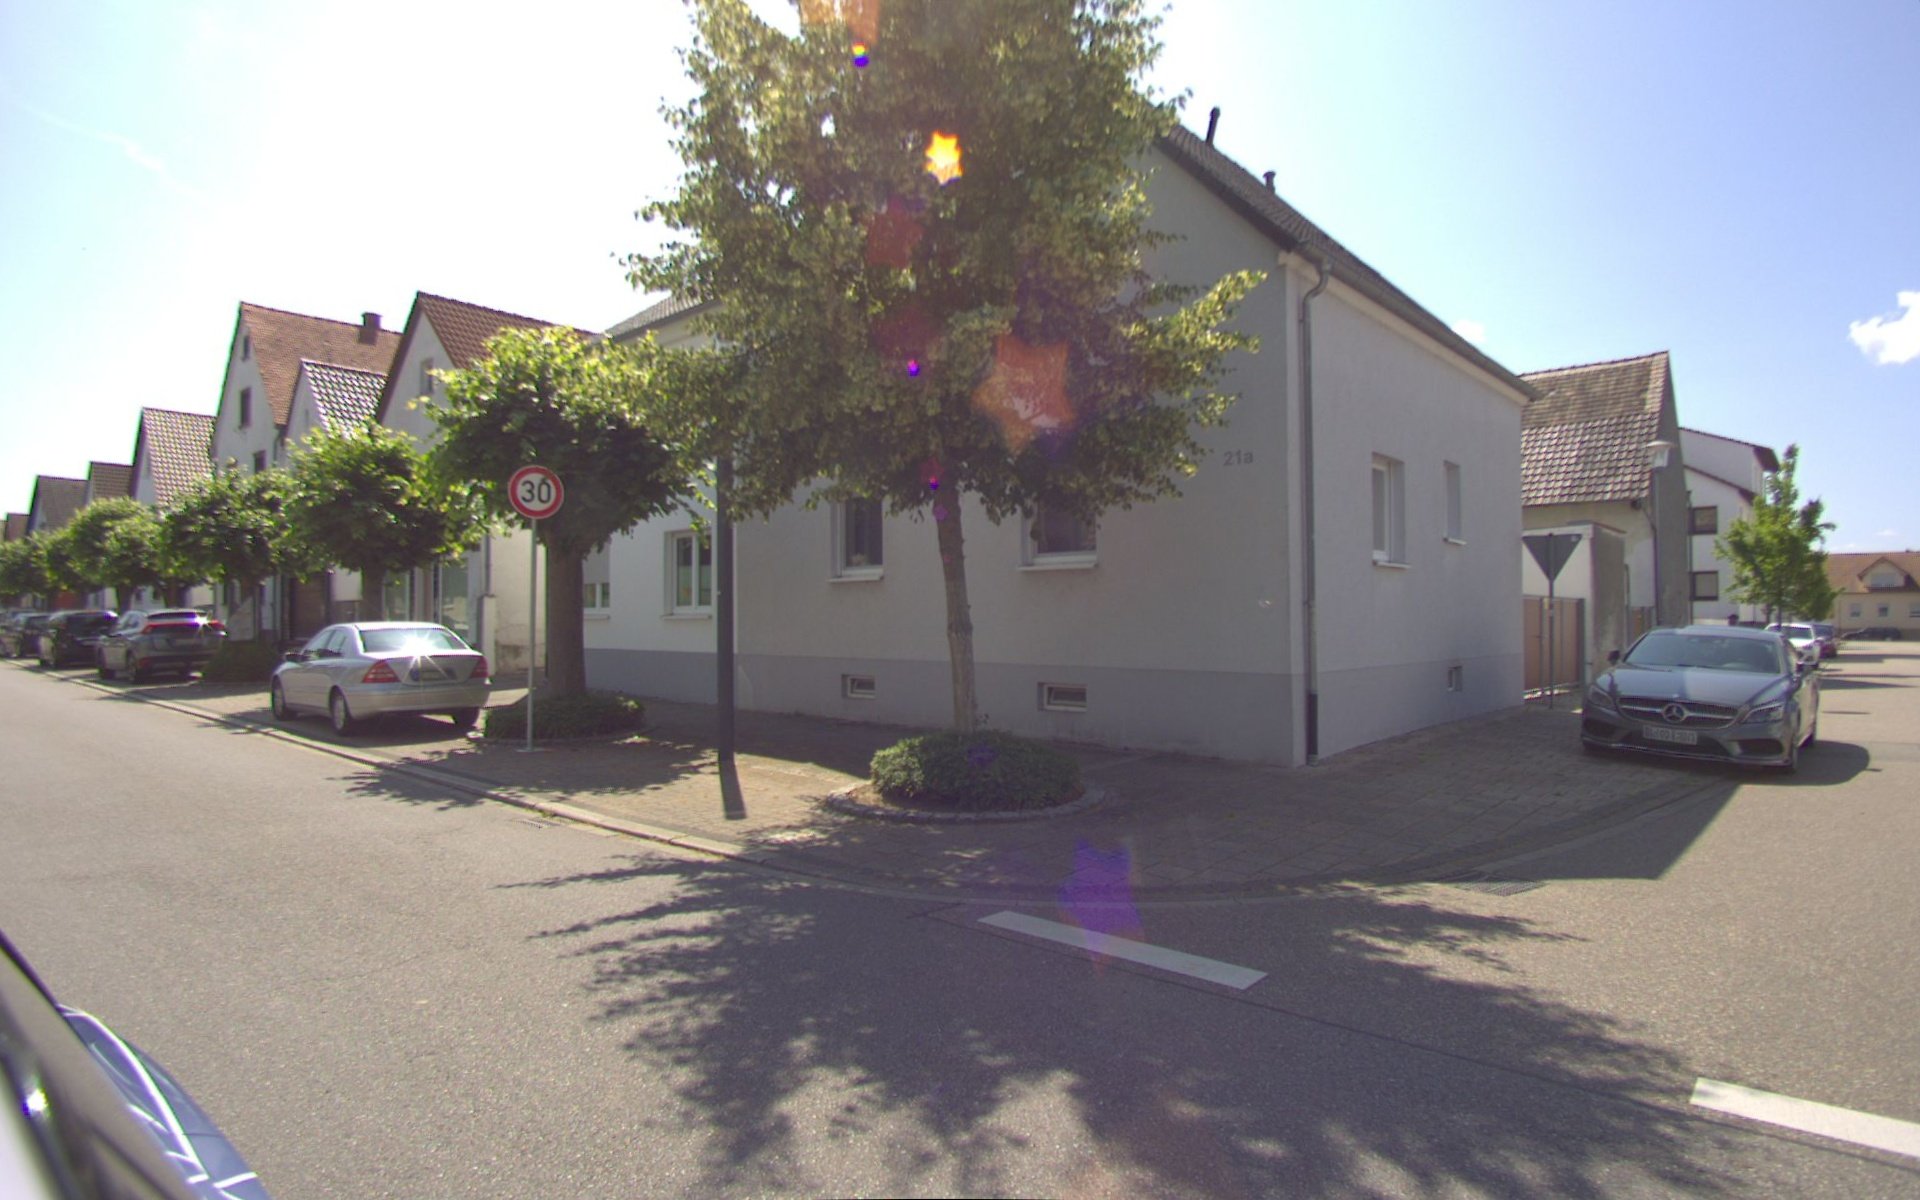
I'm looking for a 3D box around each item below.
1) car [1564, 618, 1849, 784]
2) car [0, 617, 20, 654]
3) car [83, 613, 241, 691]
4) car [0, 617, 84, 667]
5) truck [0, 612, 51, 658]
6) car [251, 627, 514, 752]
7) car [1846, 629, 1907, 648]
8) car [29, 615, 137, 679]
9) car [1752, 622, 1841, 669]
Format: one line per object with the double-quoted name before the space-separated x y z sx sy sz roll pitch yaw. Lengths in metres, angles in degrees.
"car" 8.564 0.960 11.454 2.001 1.460 4.287 1 0 45
"car" -45.413 1.650 47.206 4.369 1.625 1.833 -1 1 42
"car" -18.798 1.165 23.785 4.361 1.665 1.974 -1 -1 38
"car" -32.668 1.451 35.743 3.992 1.646 1.770 -1 0 36
"truck" -39.037 1.415 41.914 4.190 1.778 1.560 -1 1 42
"car" -8.060 1.098 13.958 4.404 1.406 1.821 -1 -1 41
"car" 87.830 3.680 97.009 4.262 1.634 1.972 0 1 42
"car" -25.631 1.308 29.539 4.055 1.647 1.833 -1 1 42
"car" 28.876 1.505 34.879 2.001 1.460 4.287 1 0 45
